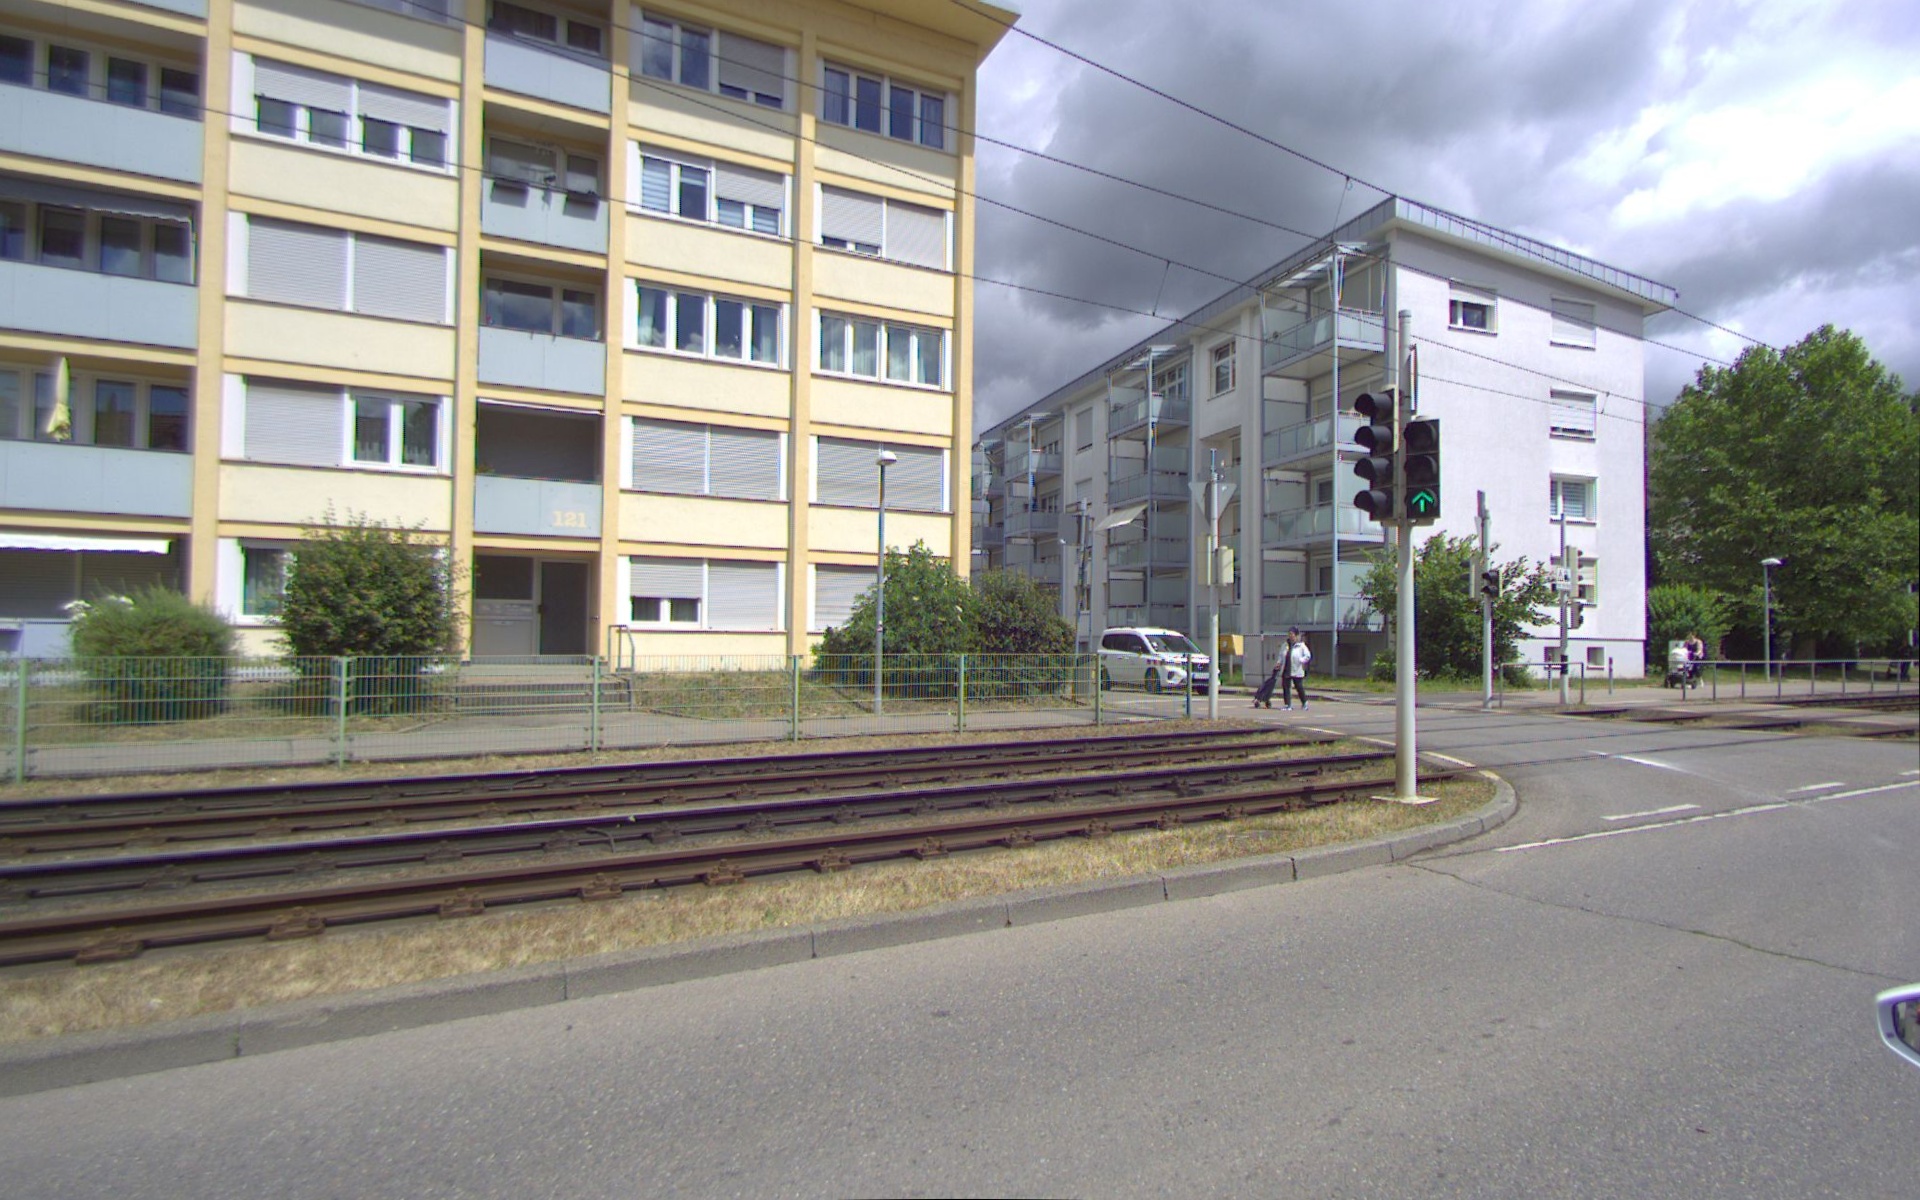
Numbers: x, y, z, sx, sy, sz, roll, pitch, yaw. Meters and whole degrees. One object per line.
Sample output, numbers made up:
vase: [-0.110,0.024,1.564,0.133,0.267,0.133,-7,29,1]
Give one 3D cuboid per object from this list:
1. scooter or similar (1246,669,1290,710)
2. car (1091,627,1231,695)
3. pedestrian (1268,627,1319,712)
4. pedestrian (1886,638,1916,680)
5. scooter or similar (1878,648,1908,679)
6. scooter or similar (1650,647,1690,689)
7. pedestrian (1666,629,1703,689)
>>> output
scooter or similar: [6.156,1.784,20.075,0.658,0.784,0.530,2,-3,-29]
car: [5.468,1.640,27.929,1.783,1.751,4.270,2,-2,-21]
pedestrian: [6.591,1.362,19.852,0.764,1.628,0.601,2,-3,-29]
pedestrian: [35.905,2.233,38.310,0.864,1.560,0.610,2,-1,-30]
scooter or similar: [35.184,2.377,37.886,0.811,1.129,0.601,2,-1,-30]
scooter or similar: [20.508,1.972,29.016,0.880,1.178,0.606,2,-2,-28]
pedestrian: [21.196,1.729,29.403,0.671,1.715,0.643,2,-1,-28]
